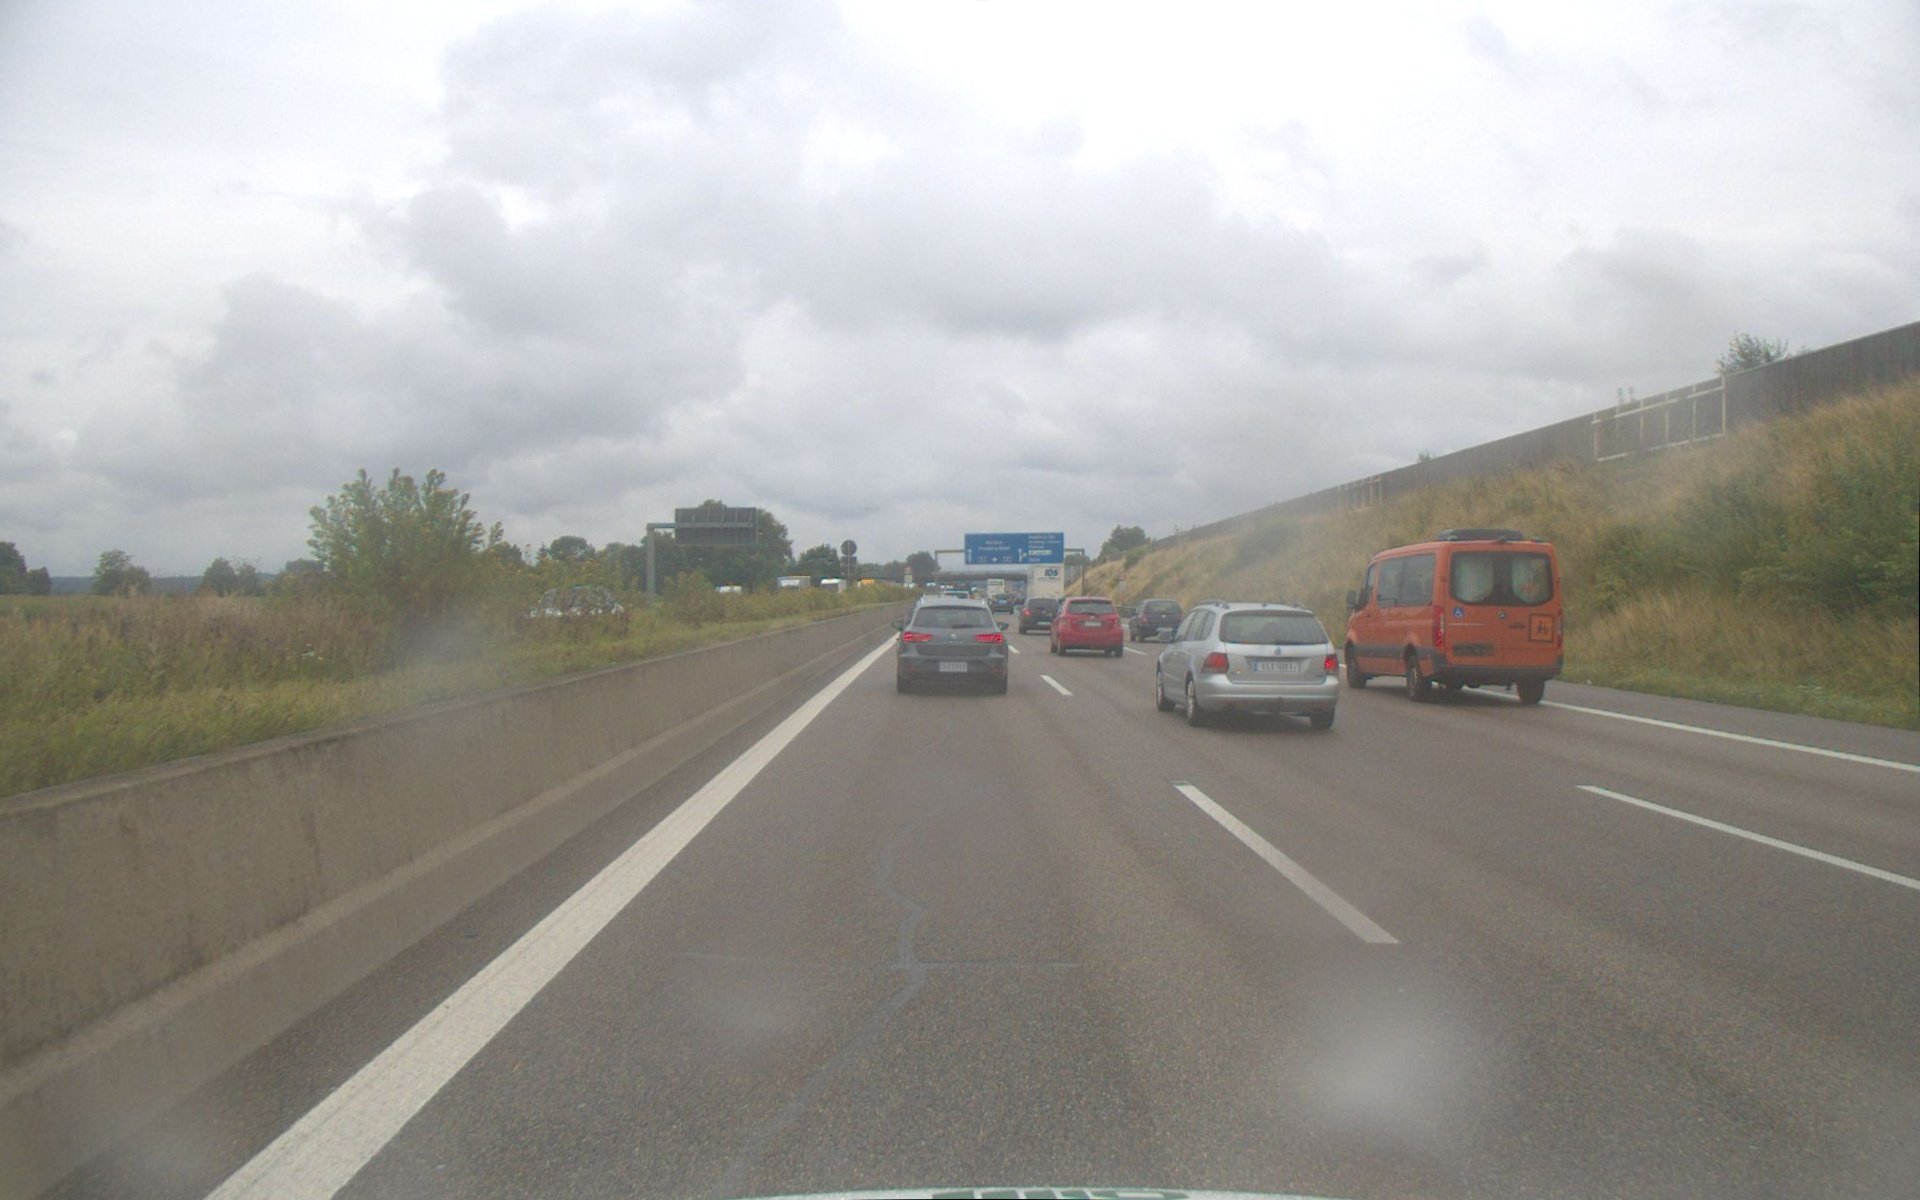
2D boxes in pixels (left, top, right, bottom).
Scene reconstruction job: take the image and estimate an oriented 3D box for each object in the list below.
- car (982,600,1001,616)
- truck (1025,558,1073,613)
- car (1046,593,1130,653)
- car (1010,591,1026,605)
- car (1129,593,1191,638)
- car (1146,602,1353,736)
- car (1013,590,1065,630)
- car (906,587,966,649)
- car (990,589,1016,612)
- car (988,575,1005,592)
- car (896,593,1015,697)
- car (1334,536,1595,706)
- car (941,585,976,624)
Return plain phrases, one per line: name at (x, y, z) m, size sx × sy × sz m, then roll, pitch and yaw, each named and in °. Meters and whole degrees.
car at (3.133, 0.777, 165.760) m, size 1.716 × 1.544 × 3.999 m, roll 0°, pitch 0°, yaw -1°
truck at (7.619, -1.161, 144.437) m, size 3.216 × 4.370 × 19.032 m, roll 1°, pitch 0°, yaw 0°
car at (3.304, 0.570, 43.453) m, size 1.852 × 1.472 × 4.685 m, roll 0°, pitch 0°, yaw 0°
car at (7.742, -0.256, 221.736) m, size 1.953 × 1.892 × 4.389 m, roll 0°, pitch 0°, yaw -2°
car at (6.703, 0.505, 55.814) m, size 1.667 × 1.426 × 3.875 m, roll 1°, pitch 0°, yaw 1°
car at (3.477, 0.771, 20.654) m, size 1.706 × 1.450 × 4.516 m, roll -1°, pitch 0°, yaw -1°
car at (3.096, 0.366, 65.210) m, size 1.881 × 1.548 × 4.622 m, roll 0°, pitch 0°, yaw 1°
car at (-0.692, 0.538, 50.418) m, size 1.718 × 1.780 × 4.000 m, roll 1°, pitch 0°, yaw 1°
car at (3.319, 0.022, 127.969) m, size 1.808 × 1.716 × 3.999 m, roll 1°, pitch 0°, yaw -1°
car at (4.551, -2.068, 208.197) m, size 1.953 × 2.049 × 3.998 m, roll -1°, pitch 0°, yaw -2°
car at (-0.071, 0.663, 26.205) m, size 1.732 × 1.493 × 4.000 m, roll 1°, pitch 0°, yaw 0°
car at (7.713, 0.264, 26.070) m, size 2.044 × 2.355 × 6.179 m, roll 0°, pitch 0°, yaw -2°
car at (-0.089, 0.210, 81.914) m, size 1.670 × 1.828 × 3.855 m, roll -2°, pitch 0°, yaw -1°
